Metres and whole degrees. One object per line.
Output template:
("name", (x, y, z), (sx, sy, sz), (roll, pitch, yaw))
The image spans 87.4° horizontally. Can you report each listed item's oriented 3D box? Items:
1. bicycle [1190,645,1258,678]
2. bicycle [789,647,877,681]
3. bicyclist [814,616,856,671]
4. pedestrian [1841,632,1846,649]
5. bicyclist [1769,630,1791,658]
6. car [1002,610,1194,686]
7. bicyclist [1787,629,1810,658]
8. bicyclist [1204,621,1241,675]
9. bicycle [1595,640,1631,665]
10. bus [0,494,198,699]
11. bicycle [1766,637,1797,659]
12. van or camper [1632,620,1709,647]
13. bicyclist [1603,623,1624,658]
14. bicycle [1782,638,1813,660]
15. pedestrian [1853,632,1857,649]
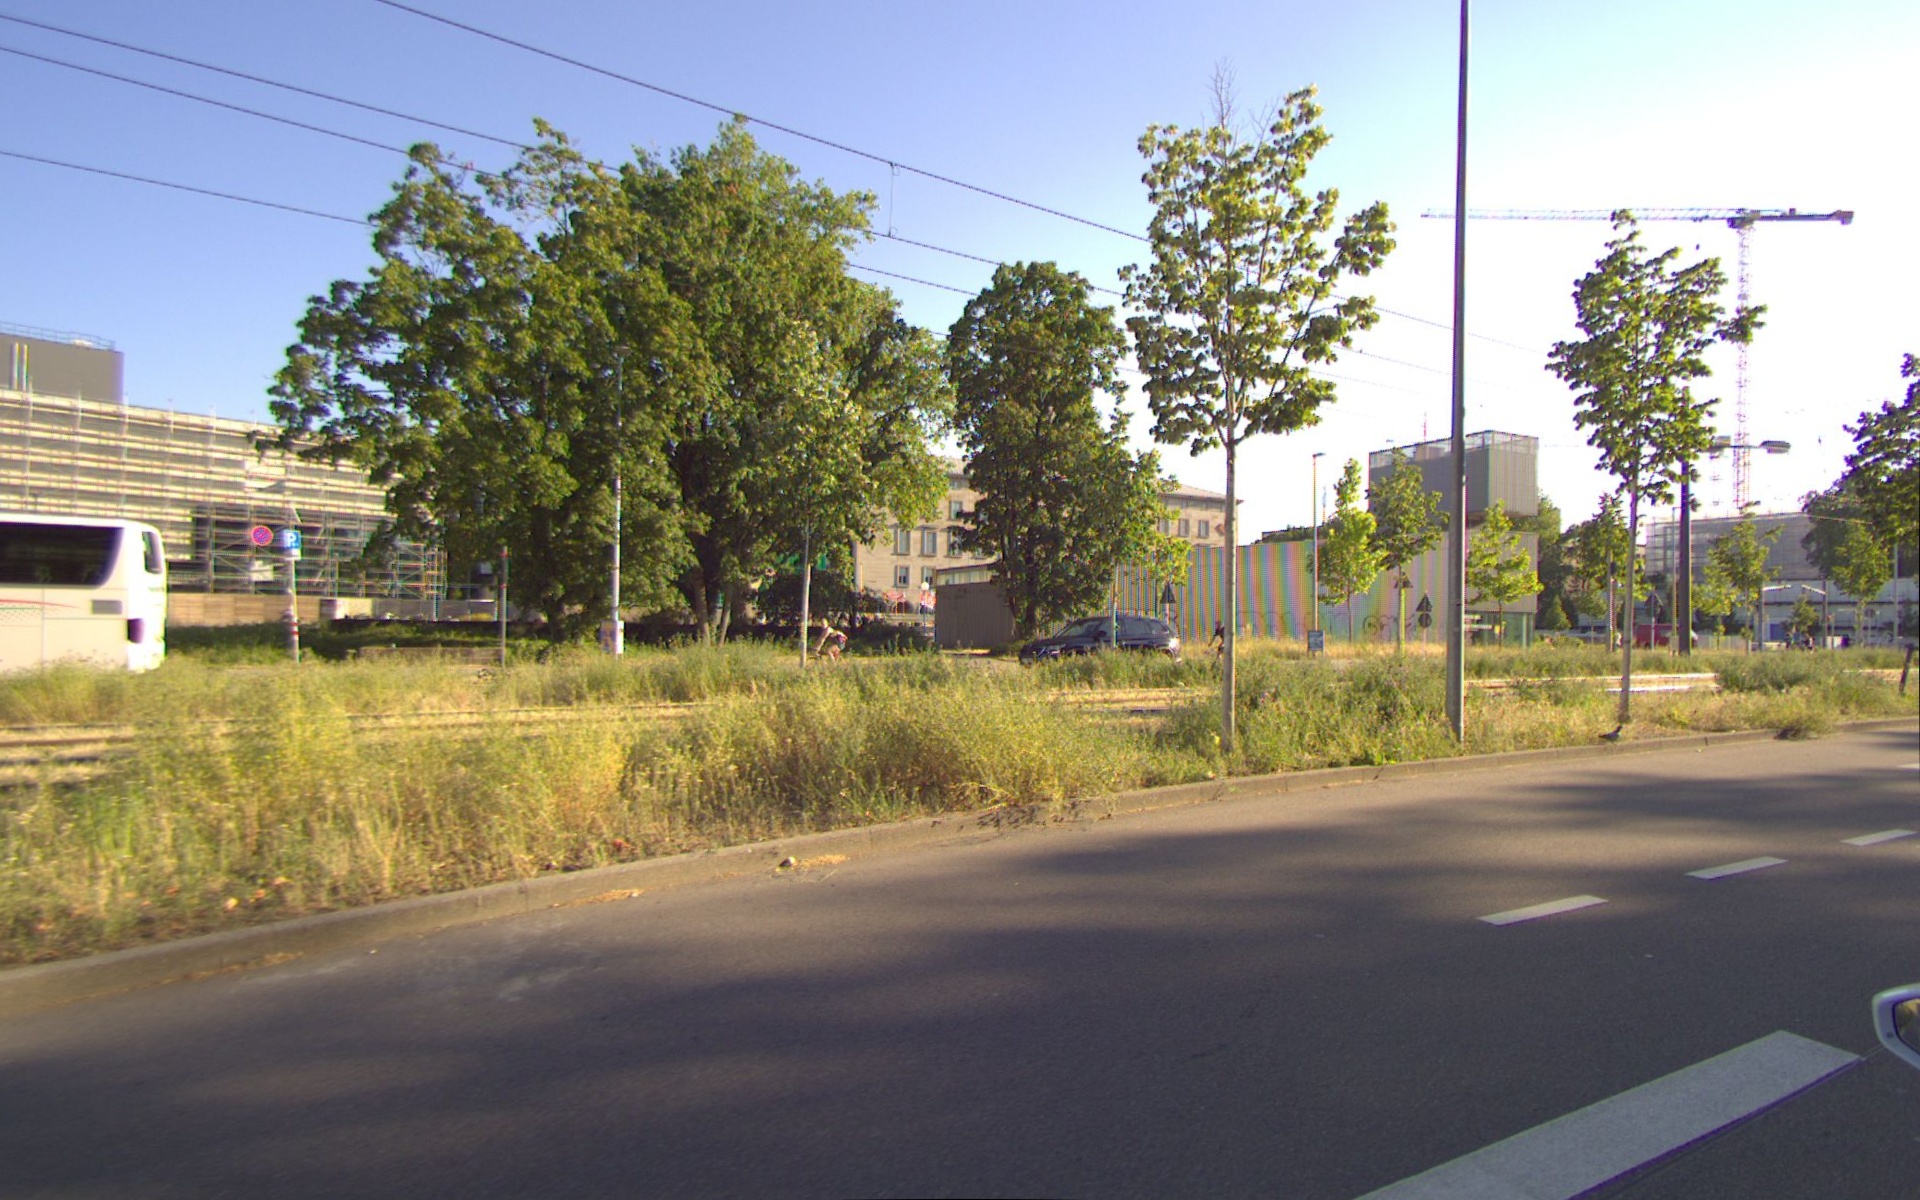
("bicycle", (8.625, 1.992, 32.805), (2.333, 1.016, 0.684), (1, -1, -30))
("bicycle", (-3.220, 1.609, 25.487), (2.120, 0.815, 0.684), (1, -1, -31))
("bicyclist", (-3.180, 1.096, 25.514), (0.861, 1.364, 0.684), (1, -1, -31))
("pedestrian", (78.389, 3.576, 89.087), (0.276, 1.484, 0.272), (1, -1, -29))
("bicyclist", (43.598, 2.312, 53.404), (1.062, 1.461, 0.581), (1, 0, -29))
("car", (3.567, 1.190, 25.729), (4.757, 1.789, 1.862), (1, -1, -31))
("bicyclist", (44.183, 2.283, 52.922), (1.062, 1.461, 0.581), (1, 0, -29))
("bicyclist", (8.573, 1.566, 32.770), (0.942, 1.730, 0.684), (1, -1, -29))
("bicycle", (28.837, 2.313, 44.354), (1.875, 1.074, 0.556), (1, -1, -29))
("bus", (-21.040, -0.136, 17.062), (12.554, 3.642, 2.785), (2, -1, -31))
("bicycle", (43.752, 2.557, 53.485), (1.963, 1.119, 0.581), (1, -1, -29))
("van or camper", (67.126, 3.176, 95.016), (2.127, 2.446, 5.640), (1, -1, -27))
("bicyclist", (28.865, 1.798, 44.366), (0.660, 1.527, 0.554), (1, -1, -29))
("bicycle", (44.086, 2.587, 52.878), (1.963, 1.119, 0.581), (1, -1, -29))
("pedestrian", (78.878, 3.599, 88.523), (0.314, 1.484, 0.271), (1, -1, -39))
